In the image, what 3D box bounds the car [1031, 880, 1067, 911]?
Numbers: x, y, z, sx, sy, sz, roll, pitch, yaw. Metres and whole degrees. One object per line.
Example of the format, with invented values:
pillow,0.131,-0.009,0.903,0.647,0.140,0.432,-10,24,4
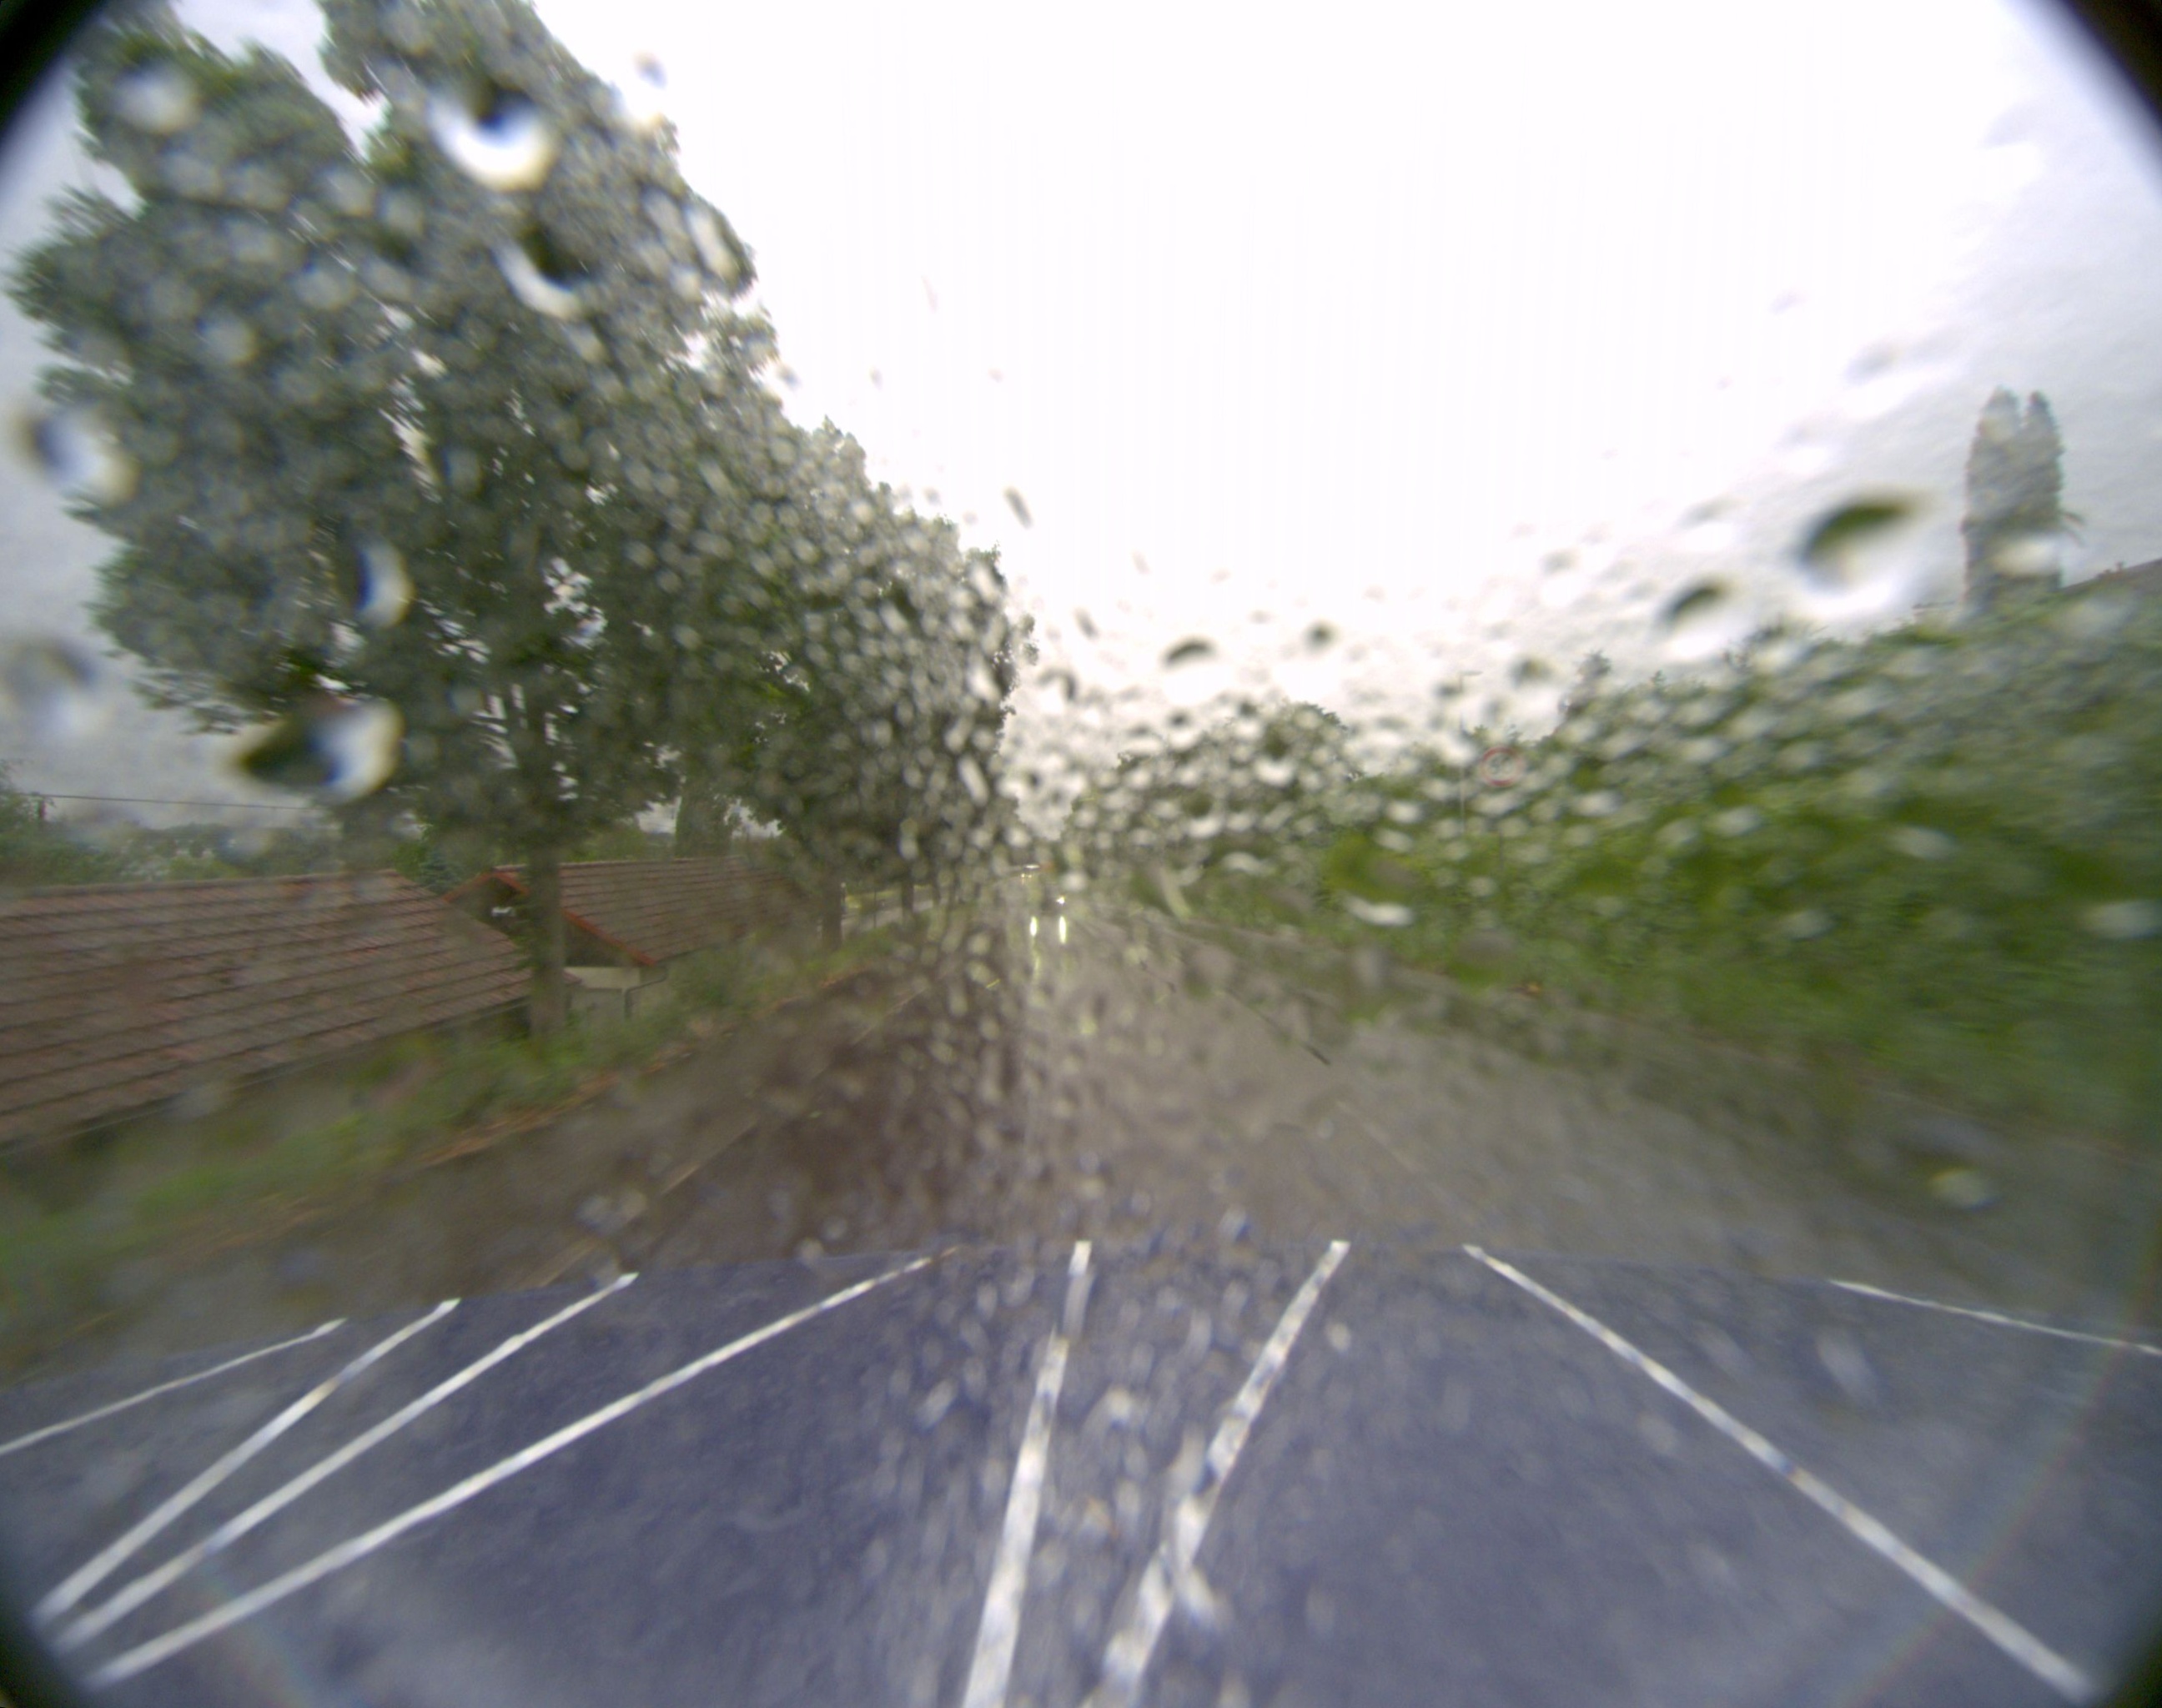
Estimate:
car,-1.649,2.114,39.421,1.765,1.477,3.790,1,-1,-2
